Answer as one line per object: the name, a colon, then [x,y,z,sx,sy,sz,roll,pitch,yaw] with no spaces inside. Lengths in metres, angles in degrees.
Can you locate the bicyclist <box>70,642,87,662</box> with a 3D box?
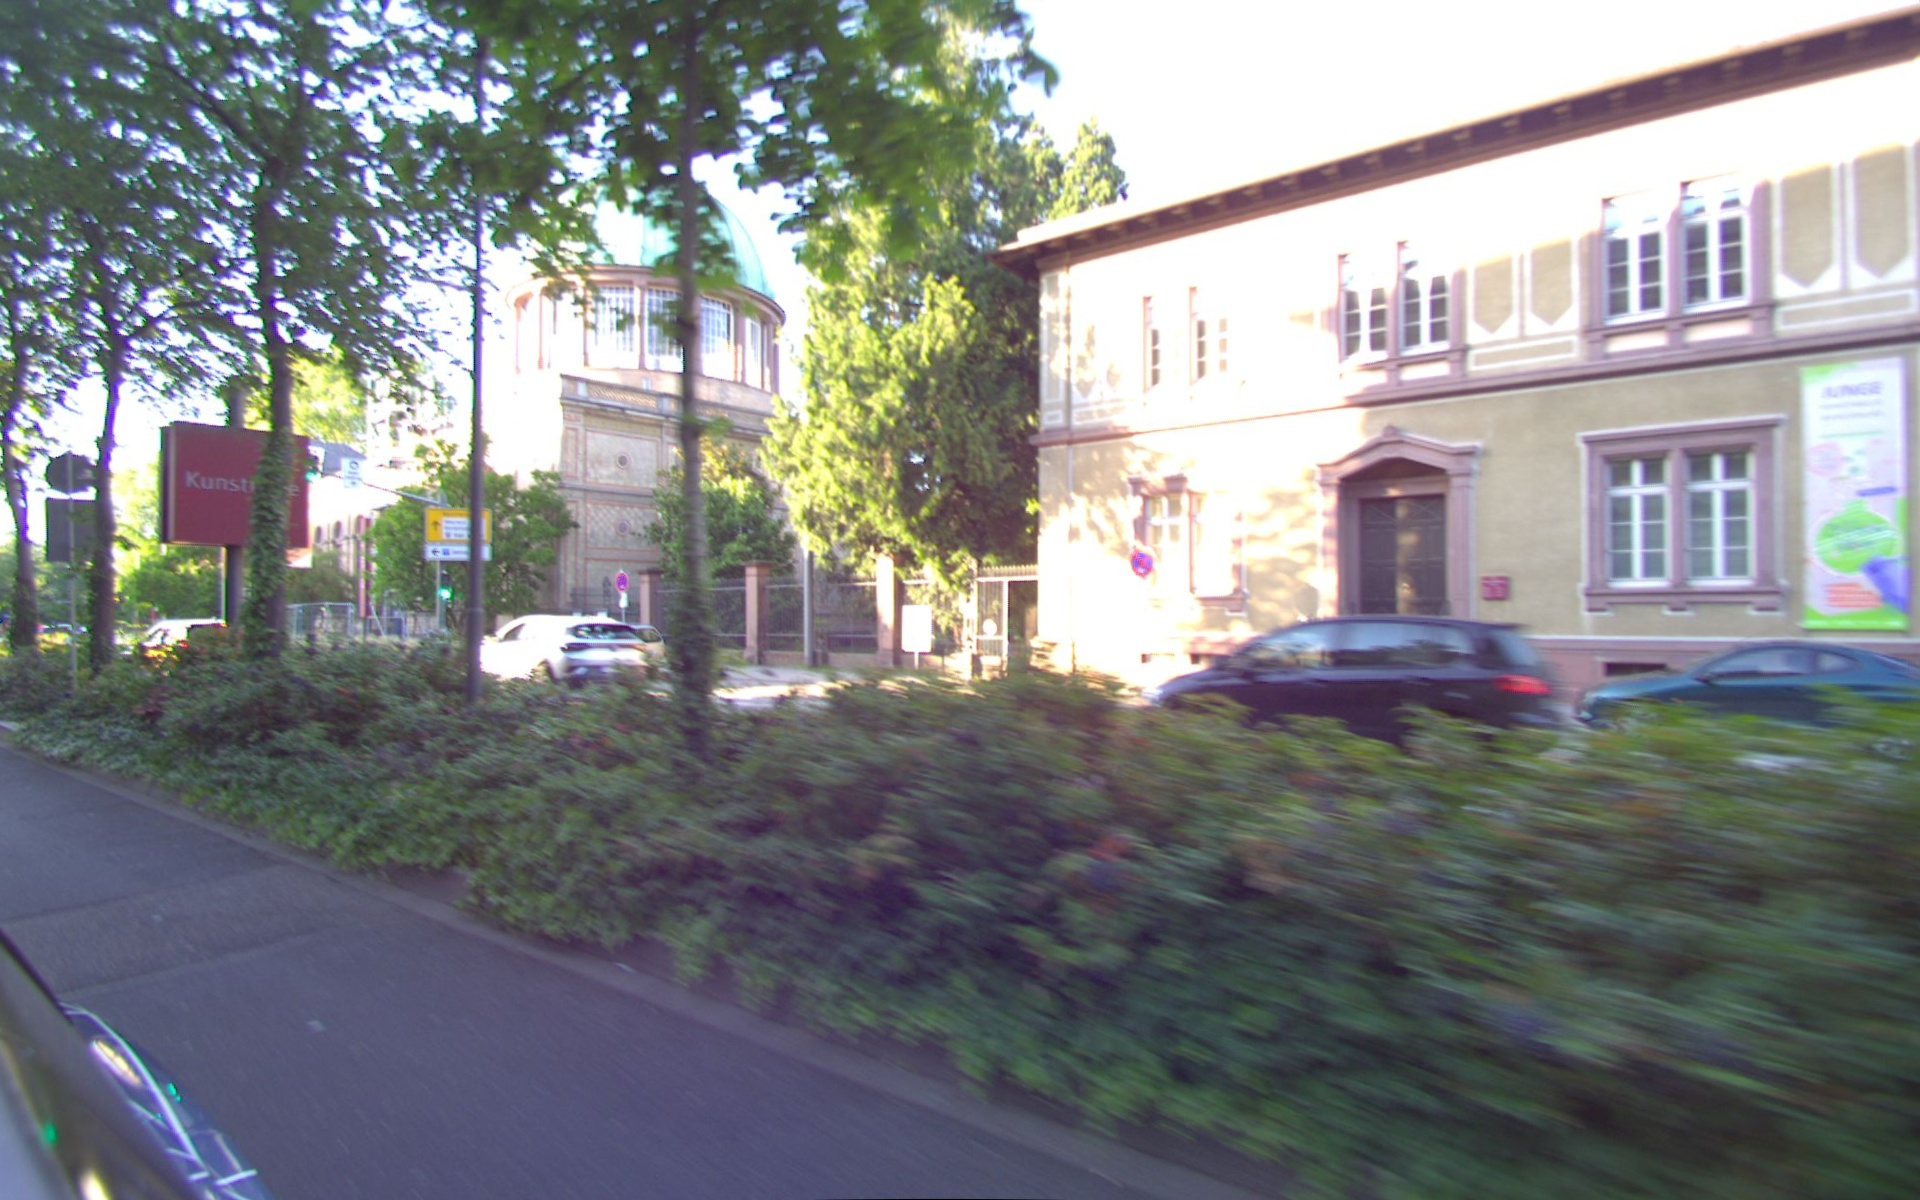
bicyclist: [-63.931,3.759,73.359,0.936,1.471,0.739,-2,-4,40]

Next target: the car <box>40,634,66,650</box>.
car: [-87.484,4.010,97.660,1.801,1.519,4.433,1,-2,-41]

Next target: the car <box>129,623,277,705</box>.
car: [-16.068,1.296,21.411,4.119,1.559,1.825,-2,-3,44]

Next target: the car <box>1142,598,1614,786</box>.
car: [4.166,0.852,10.504,4.173,1.563,1.823,-2,-4,42]

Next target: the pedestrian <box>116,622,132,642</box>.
pedestrian: [-74.874,2.894,90.635,0.795,1.751,0.852,0,-2,-19]

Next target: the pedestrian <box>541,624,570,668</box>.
pedestrian: [-14.919,1.694,37.339,0.762,1.591,0.728,-2,-2,40]

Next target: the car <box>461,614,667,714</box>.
car: [-7.604,1.164,19.228,4.556,1.687,1.822,-2,-4,43]

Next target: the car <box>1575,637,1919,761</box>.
car: [9.989,1.152,12.608,3.878,1.361,1.665,-1,-3,35]
